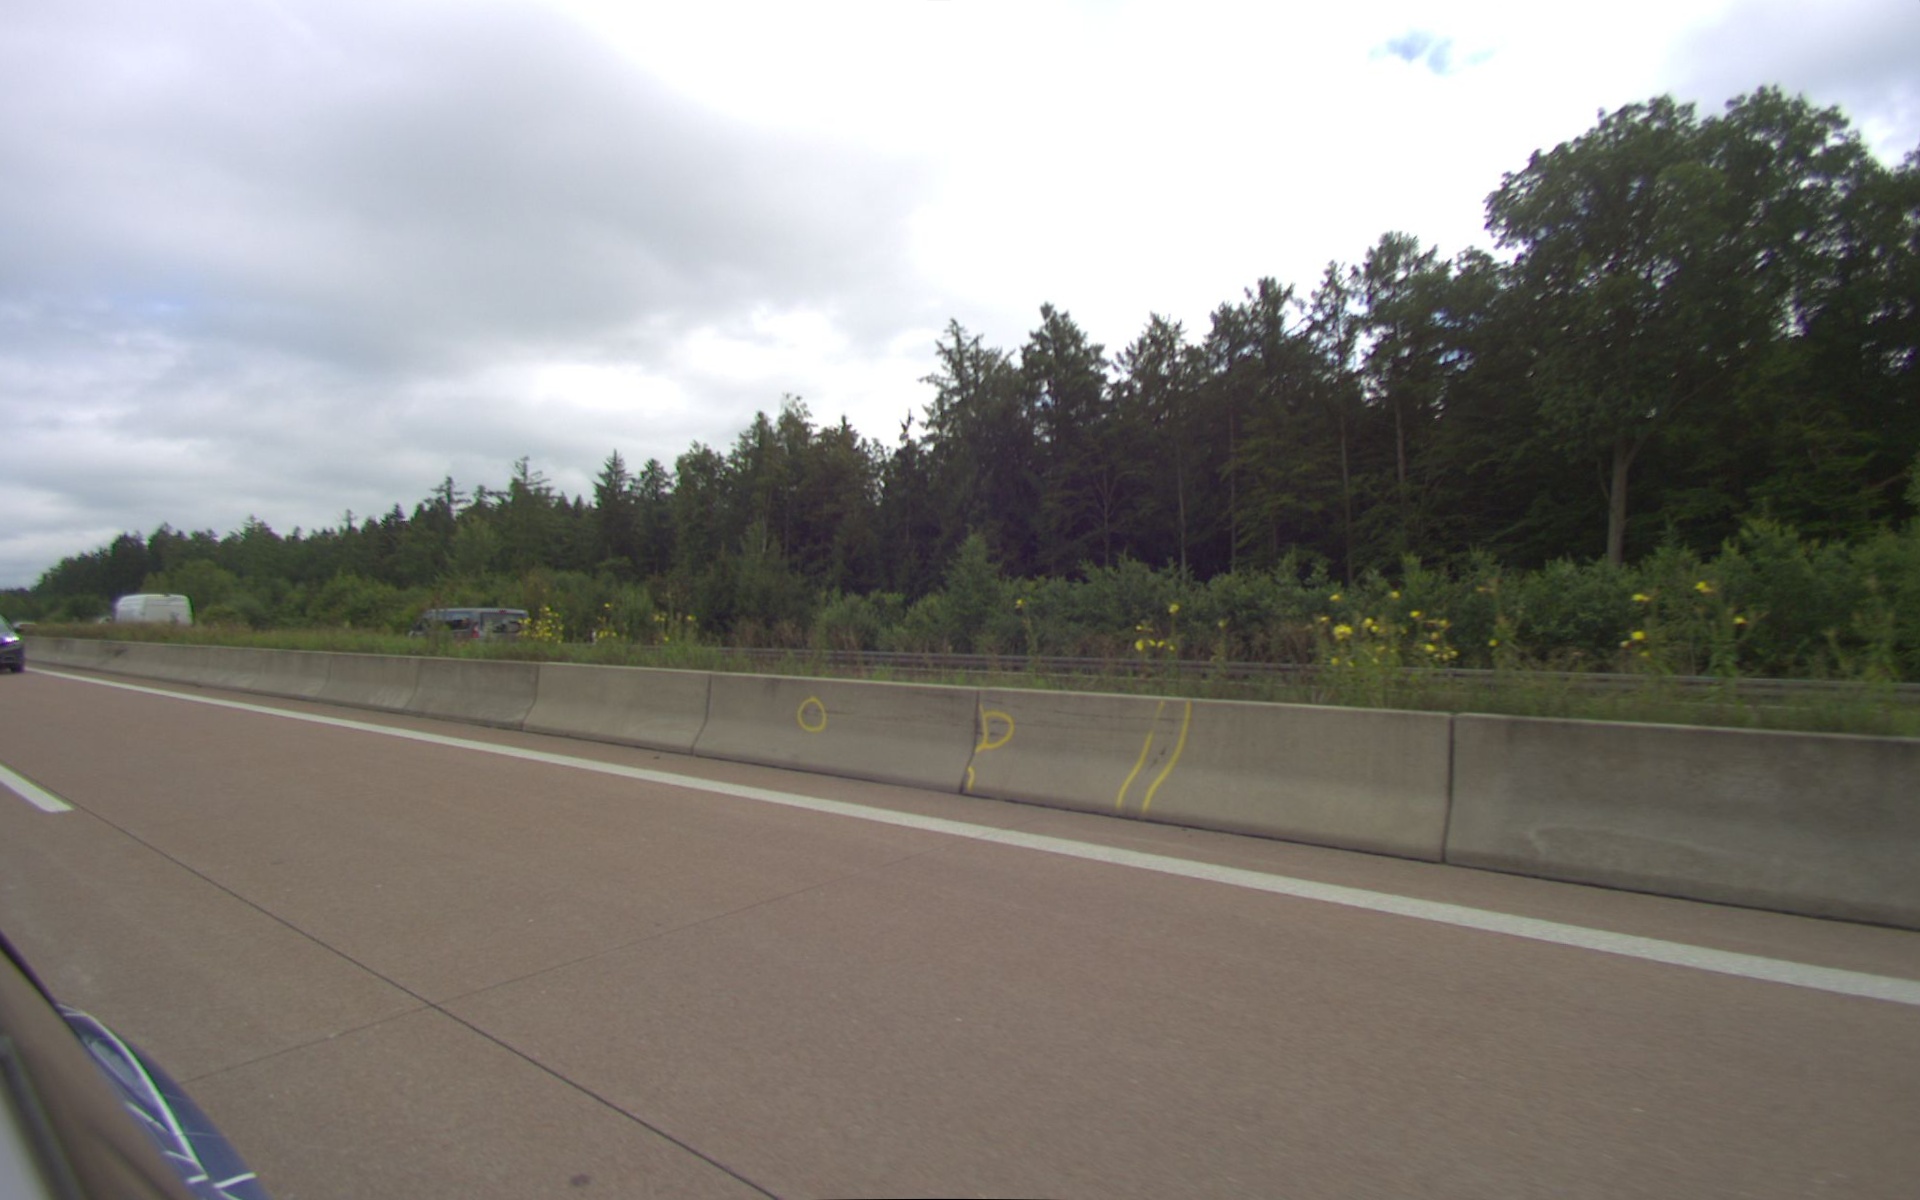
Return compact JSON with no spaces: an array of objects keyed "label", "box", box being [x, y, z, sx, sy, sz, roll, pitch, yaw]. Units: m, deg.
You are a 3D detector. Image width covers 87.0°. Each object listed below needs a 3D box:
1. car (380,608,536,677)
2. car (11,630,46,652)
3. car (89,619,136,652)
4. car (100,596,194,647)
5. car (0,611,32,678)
[{"label":"car","box":[-16.518,1.329,33.105,6.372,2.029,2.200,-1,0,40]},{"label":"car","box":[-80.750,3.552,87.719,3.749,1.786,1.766,-2,0,40]},{"label":"car","box":[-55.115,2.268,65.809,3.997,1.995,1.655,-1,0,40]},{"label":"car","box":[-37.391,0.976,46.451,7.484,2.157,2.051,-1,0,41]},{"label":"car","box":[-27.128,1.200,27.624,5.248,1.711,1.973,-1,0,40]}]
